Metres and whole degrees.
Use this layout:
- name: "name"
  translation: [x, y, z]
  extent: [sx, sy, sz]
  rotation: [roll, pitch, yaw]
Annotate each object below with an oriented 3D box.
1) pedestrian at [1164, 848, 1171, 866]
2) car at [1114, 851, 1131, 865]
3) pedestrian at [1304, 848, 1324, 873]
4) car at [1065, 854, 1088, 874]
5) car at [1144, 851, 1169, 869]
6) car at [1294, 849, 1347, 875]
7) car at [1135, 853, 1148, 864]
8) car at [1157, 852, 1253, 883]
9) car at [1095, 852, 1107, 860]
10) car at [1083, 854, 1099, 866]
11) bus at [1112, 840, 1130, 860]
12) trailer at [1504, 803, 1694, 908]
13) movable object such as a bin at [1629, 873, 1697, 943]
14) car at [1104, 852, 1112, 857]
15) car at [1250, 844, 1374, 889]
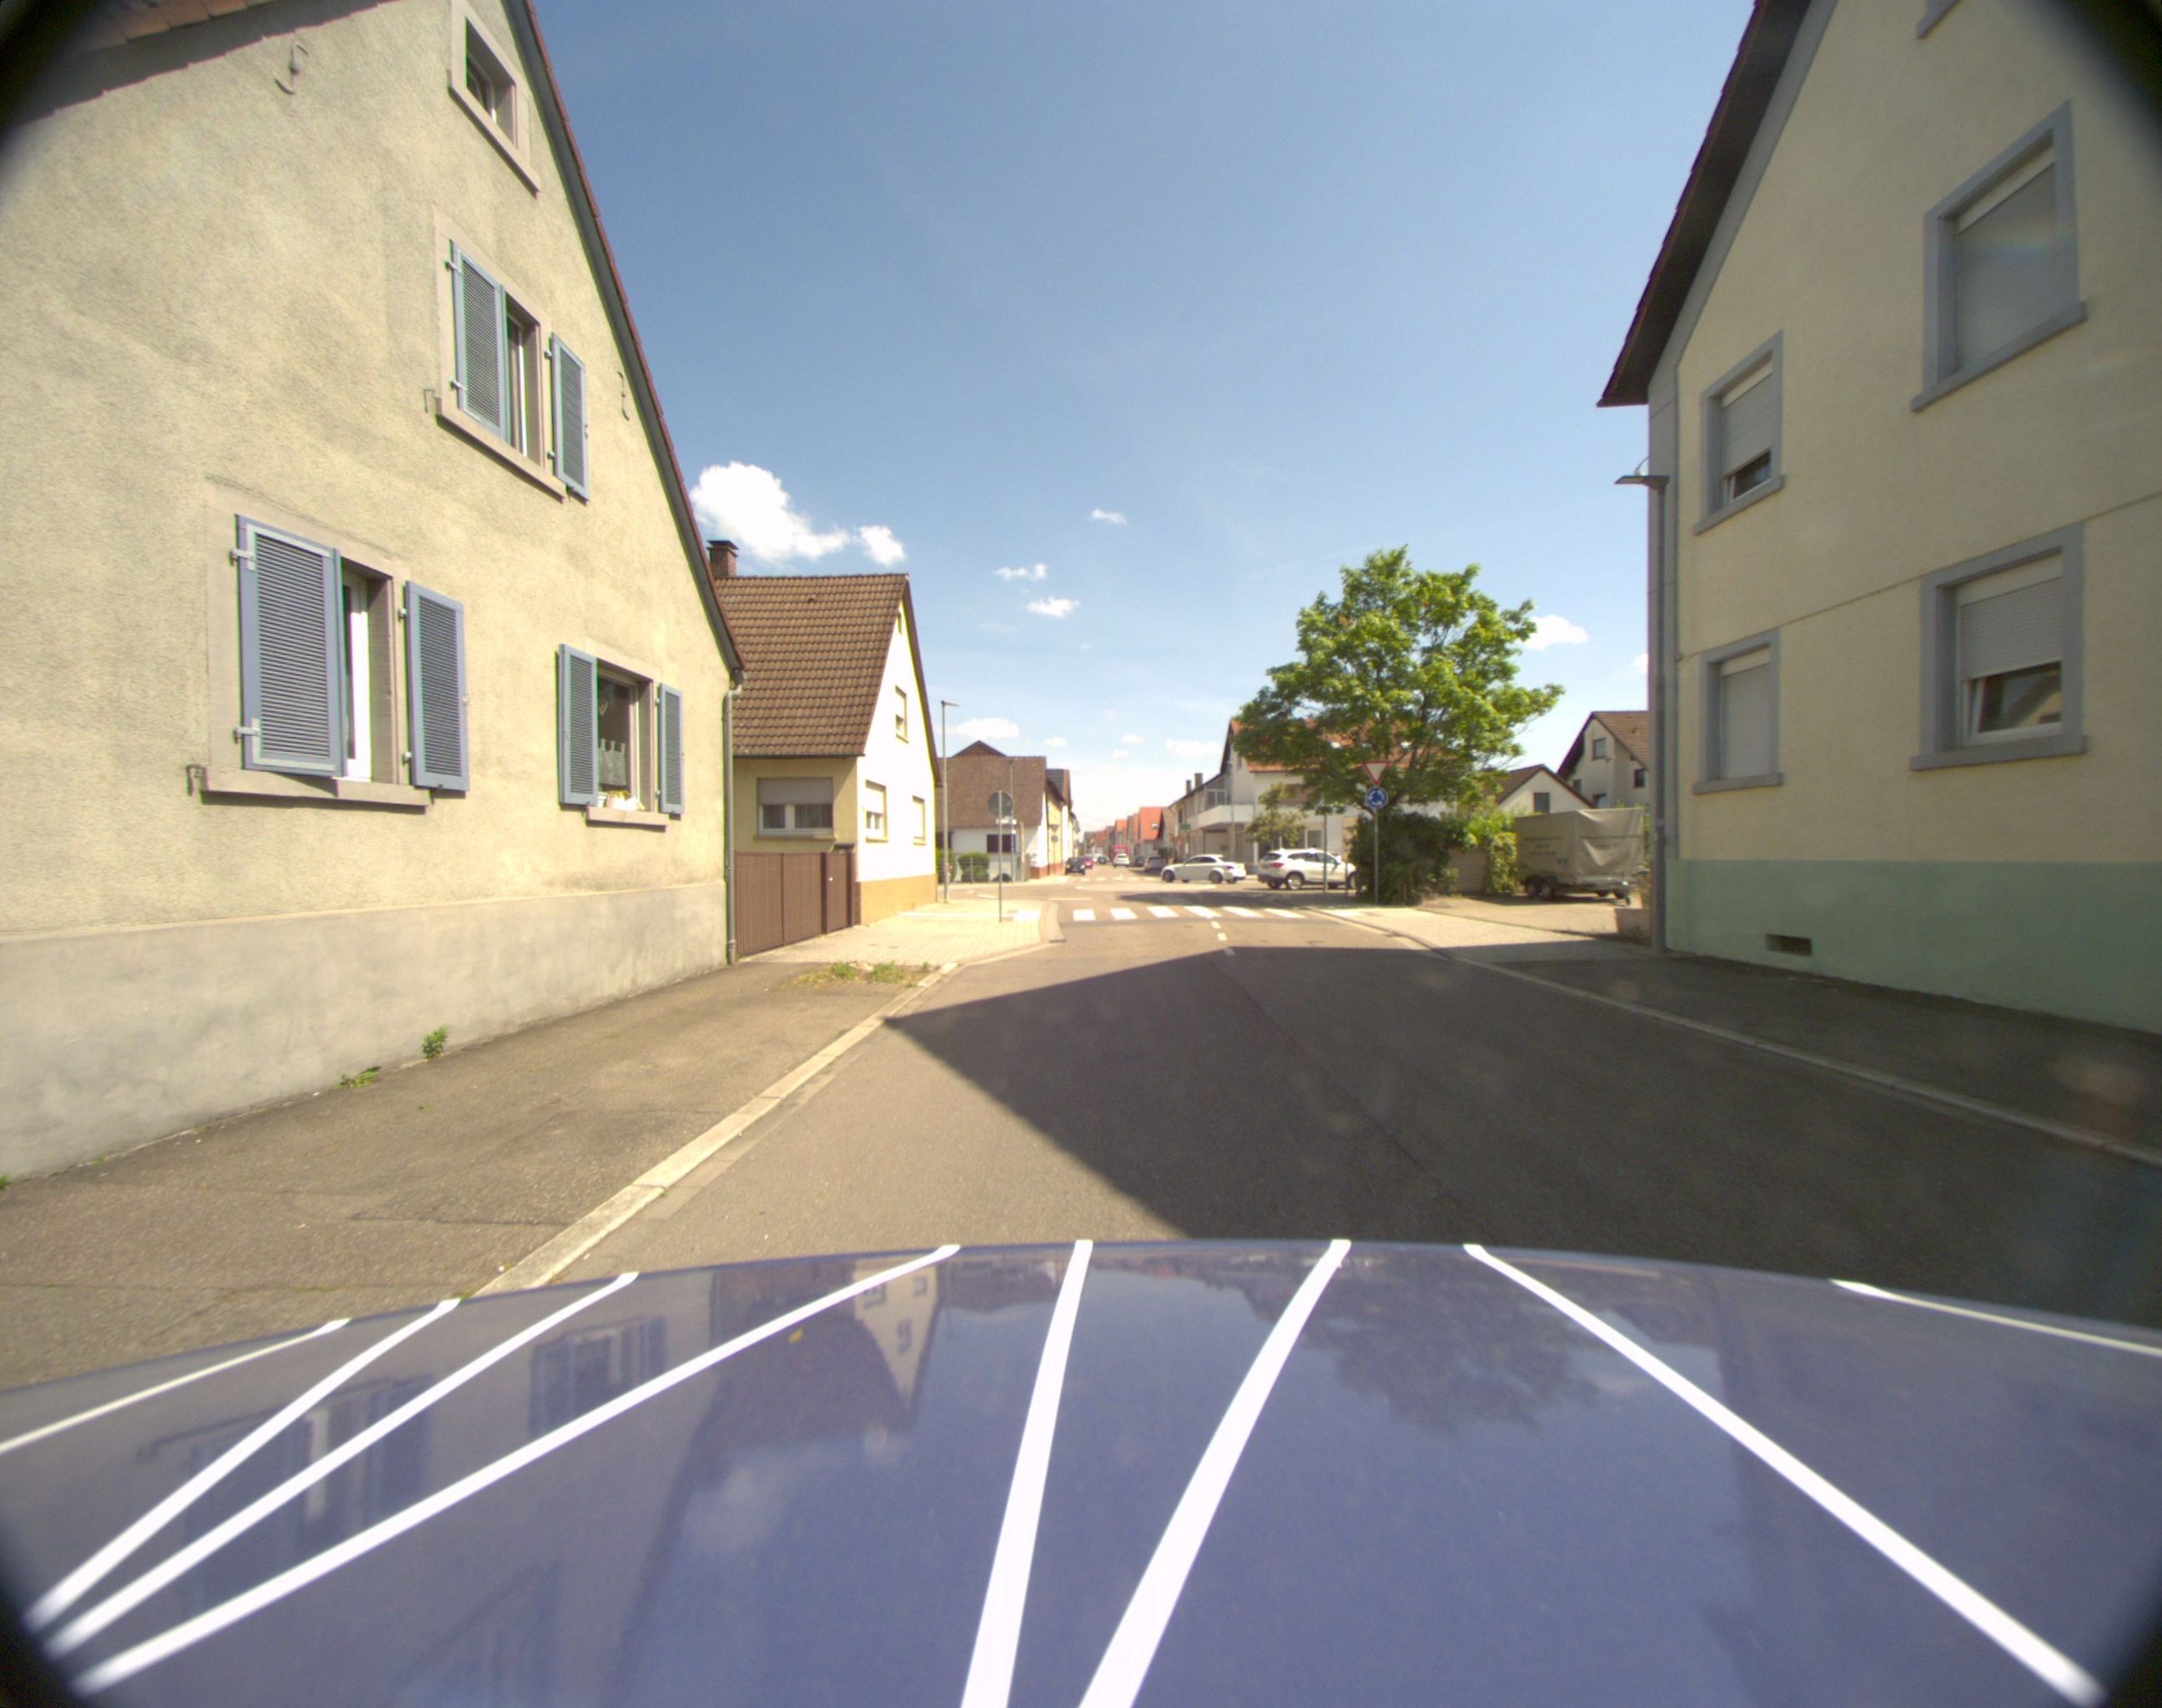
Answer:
- name: "pedestrian"
  translation: [8.707, 0.292, 76.391]
  extent: [0.578, 1.780, 0.693]
  rotation: [-3, 1, 1]
- name: "car"
  translation: [5.223, 0.506, 96.329]
  extent: [1.870, 1.700, 4.542]
  rotation: [-1, 0, 1]
- name: "pedestrian"
  translation: [14.841, 0.408, 48.408]
  extent: [0.956, 1.574, 0.757]
  rotation: [-3, 1, 2]
- name: "car"
  translation: [-0.304, 0.782, 59.554]
  extent: [1.690, 1.454, 3.629]
  rotation: [1, 0, 1]
- name: "car"
  translation: [6.967, 0.558, 70.503]
  extent: [1.748, 1.507, 3.999]
  rotation: [-4, 1, 0]
- name: "car"
  translation: [14.379, 0.471, 45.920]
  extent: [1.834, 1.442, 4.478]
  rotation: [-1, 1, 1]
- name: "car"
  translation: [7.895, 0.567, 99.165]
  extent: [1.457, 1.362, 3.384]
  rotation: [-3, 0, 3]
- name: "car"
  translation: [6.187, 0.635, 38.111]
  extent: [4.322, 1.440, 1.885]
  rotation: [1, 1, 35]
- name: "car"
  translation: [3.457, 0.303, 132.121]
  extent: [1.765, 1.420, 4.188]
  rotation: [0, 0, -2]
- name: "car"
  translation: [1.143, 0.675, 88.470]
  extent: [1.764, 1.420, 4.189]
  rotation: [0, 0, 1]
- name: "bus"
  translation: [6.916, -0.705, 132.777]
  extent: [2.633, 3.213, 12.022]
  rotation: [-1, 0, 1]
- name: "trailer"
  translation: [13.140, 0.034, 19.697]
  extent: [1.883, 2.322, 4.524]
  rotation: [-2, 0, 2]
- name: "movable object such as a bin"
  translation: [9.354, 0.857, 12.230]
  extent: [0.601, 1.072, 0.658]
  rotation: [-1, 1, 4]
- name: "car"
  translation: [6.974, 0.095, 197.637]
  extent: [1.765, 1.420, 3.852]
  rotation: [0, 0, -2]
- name: "car"
  translation: [9.236, 0.492, 30.463]
  extent: [4.375, 1.635, 1.844]
  rotation: [-1, 0, -11]
